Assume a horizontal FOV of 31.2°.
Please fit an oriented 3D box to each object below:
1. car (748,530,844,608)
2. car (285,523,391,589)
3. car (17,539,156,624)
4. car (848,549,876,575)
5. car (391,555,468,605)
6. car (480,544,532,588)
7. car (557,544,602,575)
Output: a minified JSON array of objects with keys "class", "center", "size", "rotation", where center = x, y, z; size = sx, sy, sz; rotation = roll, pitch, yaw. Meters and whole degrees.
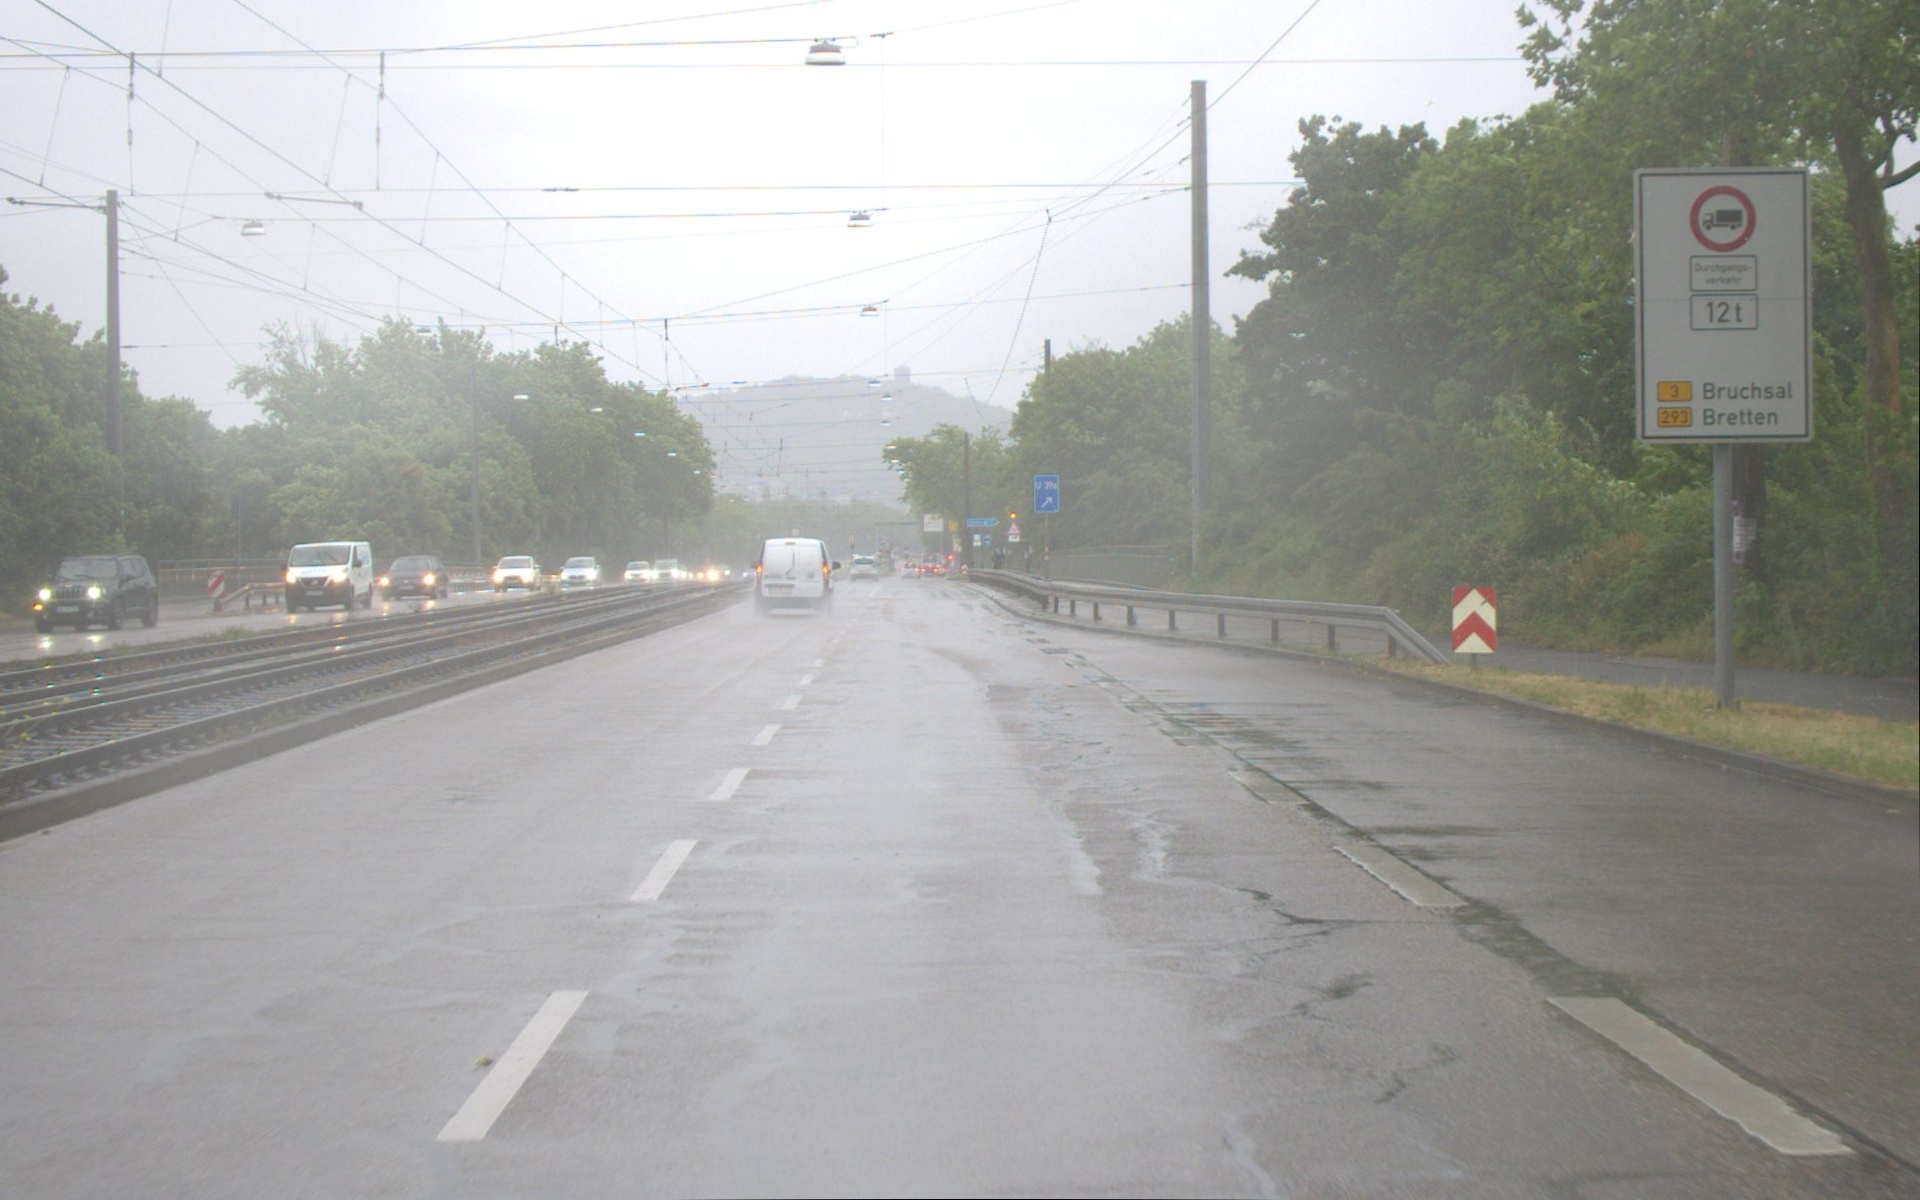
[{"class":"car","center":[-3.789,-0.746,79.868],"size":[1.989,1.678,3.740],"rotation":[1,2,1]},{"class":"car","center":[-17.805,-1.286,98.586],"size":[2.040,1.769,4.986],"rotation":[1,2,1]},{"class":"car","center":[-18.995,-0.428,74.922],"size":[1.841,1.711,4.163],"rotation":[1,2,2]},{"class":"car","center":[-6.317,-2.459,221.800],"size":[1.743,1.503,3.700],"rotation":[1,2,-1]},{"class":"car","center":[-17.822,-0.676,115.609],"size":[1.689,1.514,4.611],"rotation":[1,2,2]},{"class":"car","center":[-19.168,-1.444,145.356],"size":[1.754,1.705,4.001],"rotation":[1,2,-1]},{"class":"car","center":[-19.062,-2.049,172.513],"size":[1.797,1.448,4.195],"rotation":[1,2,0]}]
